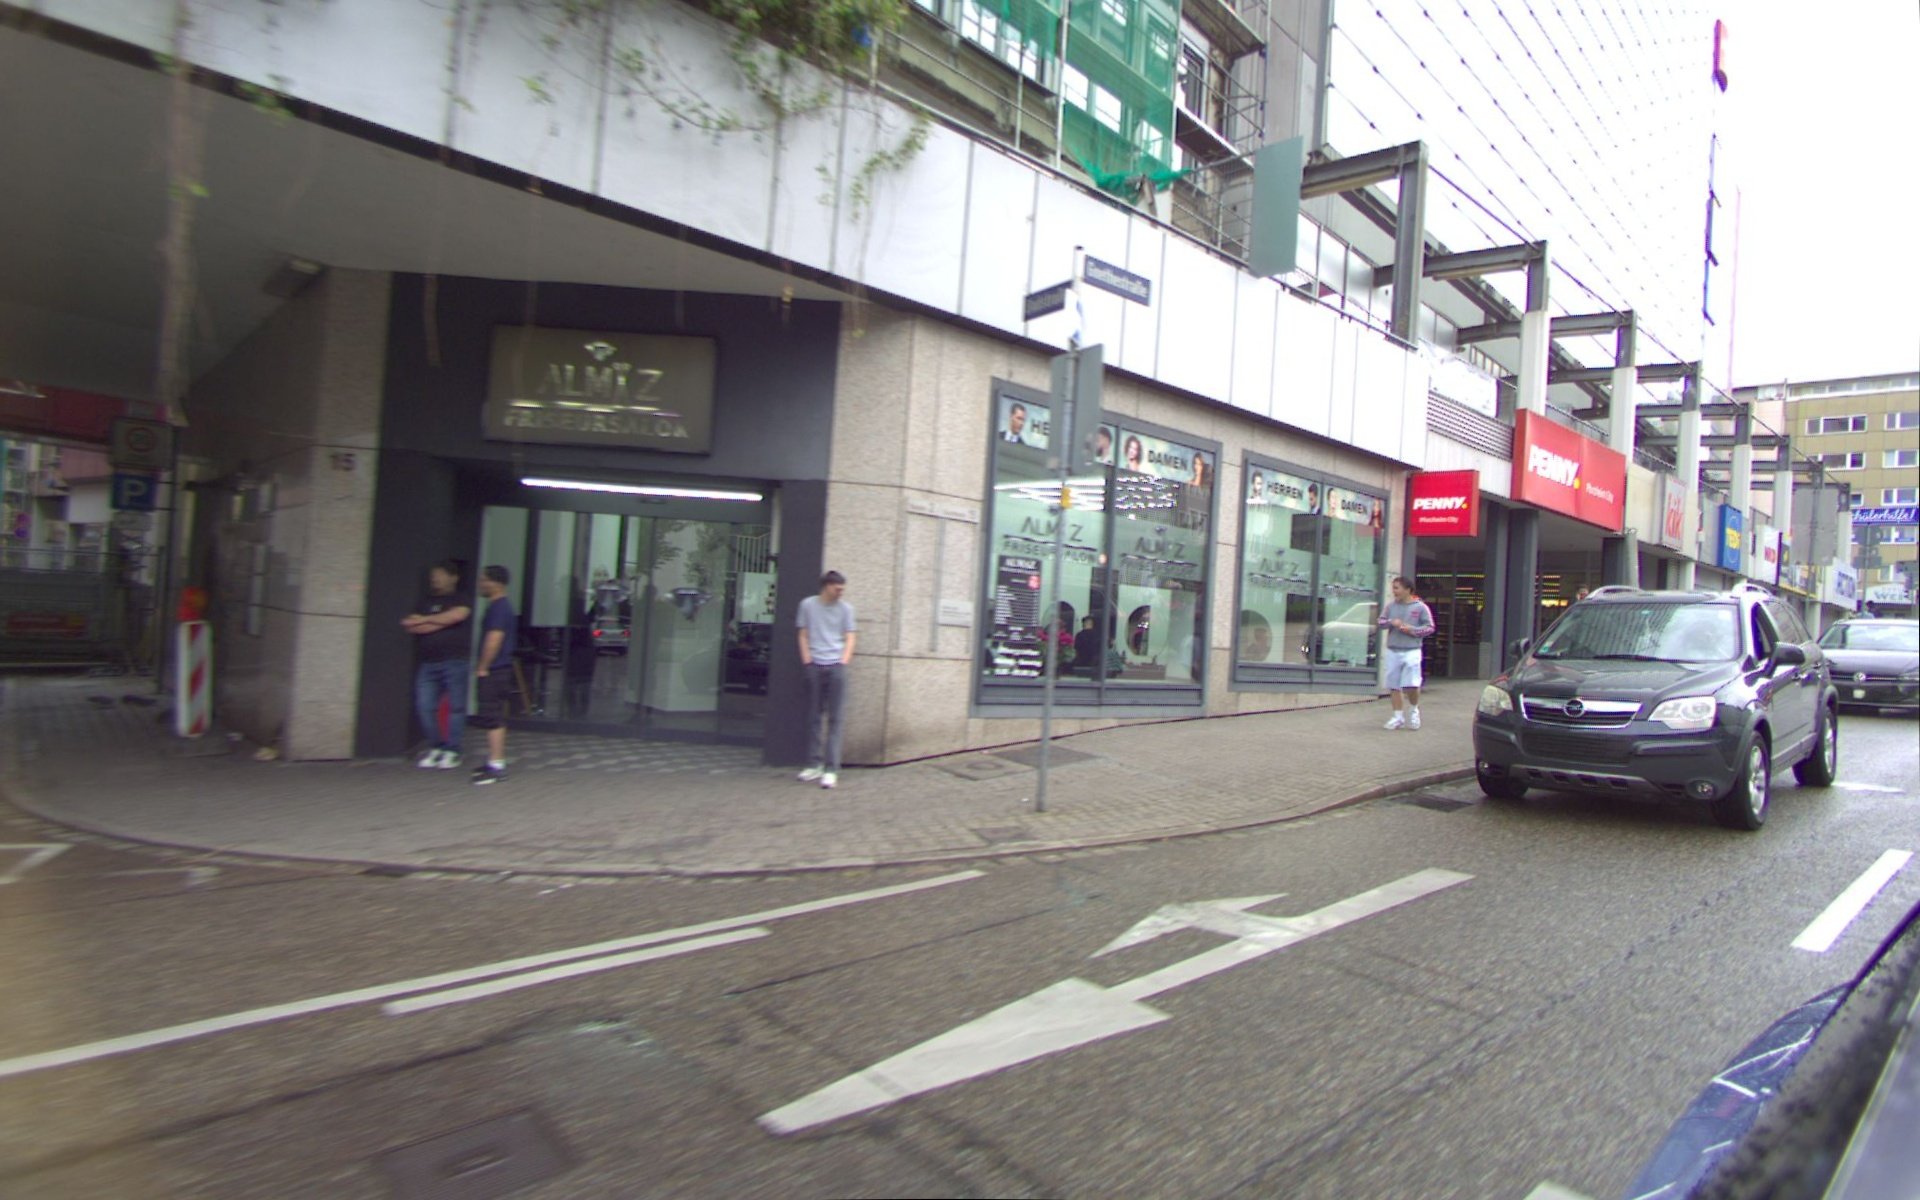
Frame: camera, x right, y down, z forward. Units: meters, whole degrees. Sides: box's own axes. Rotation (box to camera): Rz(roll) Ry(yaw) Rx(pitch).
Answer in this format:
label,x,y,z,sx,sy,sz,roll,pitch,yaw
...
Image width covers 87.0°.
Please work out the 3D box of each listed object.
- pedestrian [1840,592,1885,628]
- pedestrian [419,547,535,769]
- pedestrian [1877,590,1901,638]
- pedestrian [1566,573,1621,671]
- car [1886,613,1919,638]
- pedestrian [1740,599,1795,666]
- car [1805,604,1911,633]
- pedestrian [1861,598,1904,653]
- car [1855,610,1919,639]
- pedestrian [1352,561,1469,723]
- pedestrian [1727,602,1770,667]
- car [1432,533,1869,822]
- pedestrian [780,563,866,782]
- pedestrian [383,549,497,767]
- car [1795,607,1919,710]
label,x,y,z,sx,sy,sz,roll,pitch,yaw
pedestrian,41.453,0.443,46.493,1.042,1.550,1.024,5,3,11
pedestrian,-3.840,0.447,8.085,0.564,1.683,0.600,2,-1,1
pedestrian,37.701,0.570,41.074,0.995,1.863,0.600,3,0,-44
pedestrian,11.750,0.392,18.799,0.663,1.736,0.812,3,1,22
car,64.468,1.751,67.132,1.823,1.570,4.389,1,1,-44
pedestrian,18.656,0.737,23.387,0.690,1.485,0.775,2,1,-33
car,54.236,1.080,61.183,1.768,1.433,4.621,4,0,-44
pedestrian,29.793,0.821,32.702,0.605,1.744,0.839,2,1,-33
car,60.627,1.588,65.382,4.077,1.571,1.820,5,3,40
pedestrian,5.126,0.455,11.533,0.813,1.744,0.839,2,1,-33
pedestrian,17.576,0.752,22.567,0.638,1.394,0.693,3,1,44
car,5.899,0.585,8.467,4.225,1.809,1.910,2,-4,-40
pedestrian,-1.086,0.551,8.121,0.552,1.670,0.643,2,2,1
pedestrian,-4.376,0.473,8.543,0.626,1.757,0.515,2,-1,-2
car,14.639,0.903,15.878,3.812,1.450,1.740,2,-4,-41
